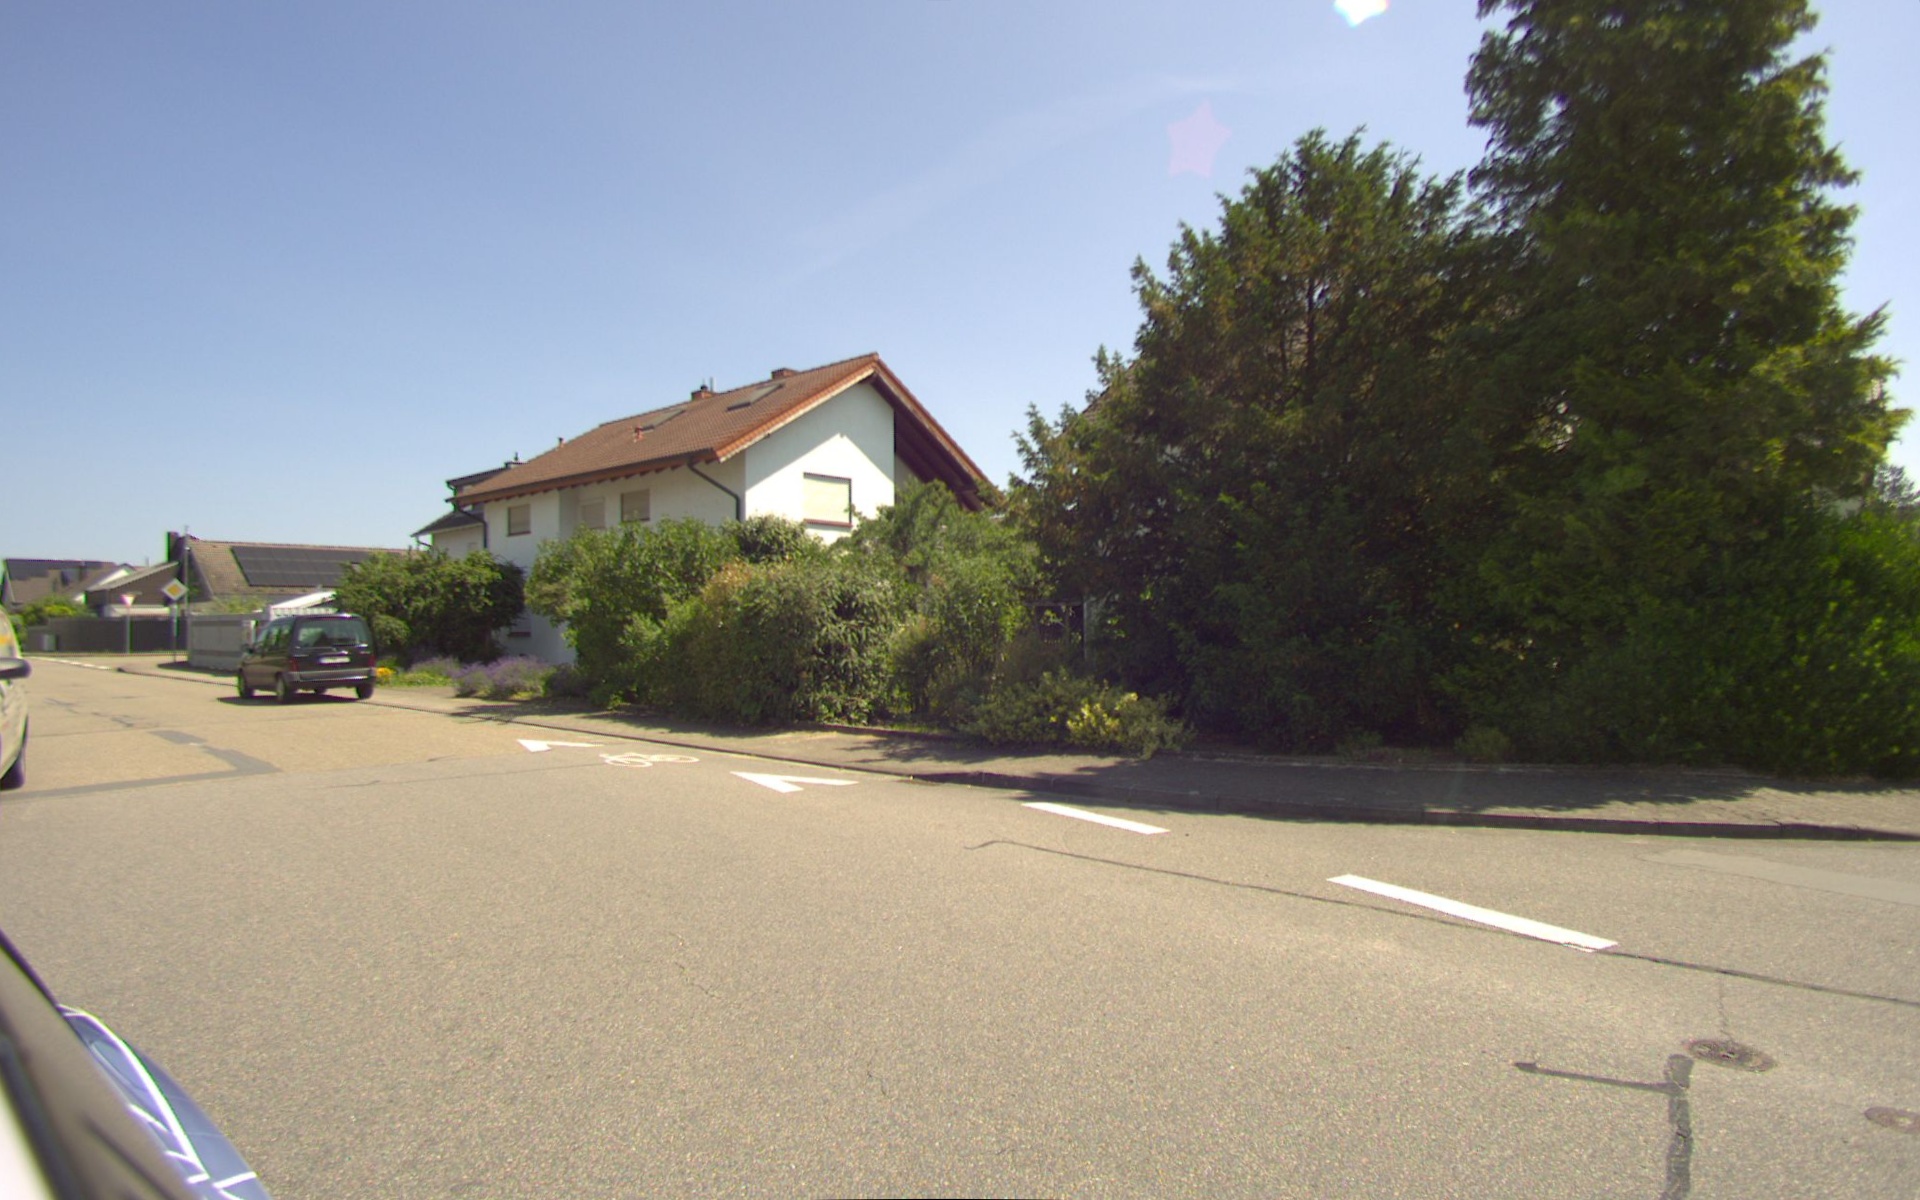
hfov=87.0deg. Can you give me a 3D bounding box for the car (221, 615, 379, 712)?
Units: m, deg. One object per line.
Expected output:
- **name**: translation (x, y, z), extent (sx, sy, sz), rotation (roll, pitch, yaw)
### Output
- **car**: translation (-14.032, 1.262, 21.437), extent (4.051, 1.860, 1.701), rotation (-1, -2, 40)

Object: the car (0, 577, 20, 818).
- **car**: translation (-8.655, 0.771, 7.731), extent (1.988, 1.870, 5.075), rotation (1, -2, -41)
